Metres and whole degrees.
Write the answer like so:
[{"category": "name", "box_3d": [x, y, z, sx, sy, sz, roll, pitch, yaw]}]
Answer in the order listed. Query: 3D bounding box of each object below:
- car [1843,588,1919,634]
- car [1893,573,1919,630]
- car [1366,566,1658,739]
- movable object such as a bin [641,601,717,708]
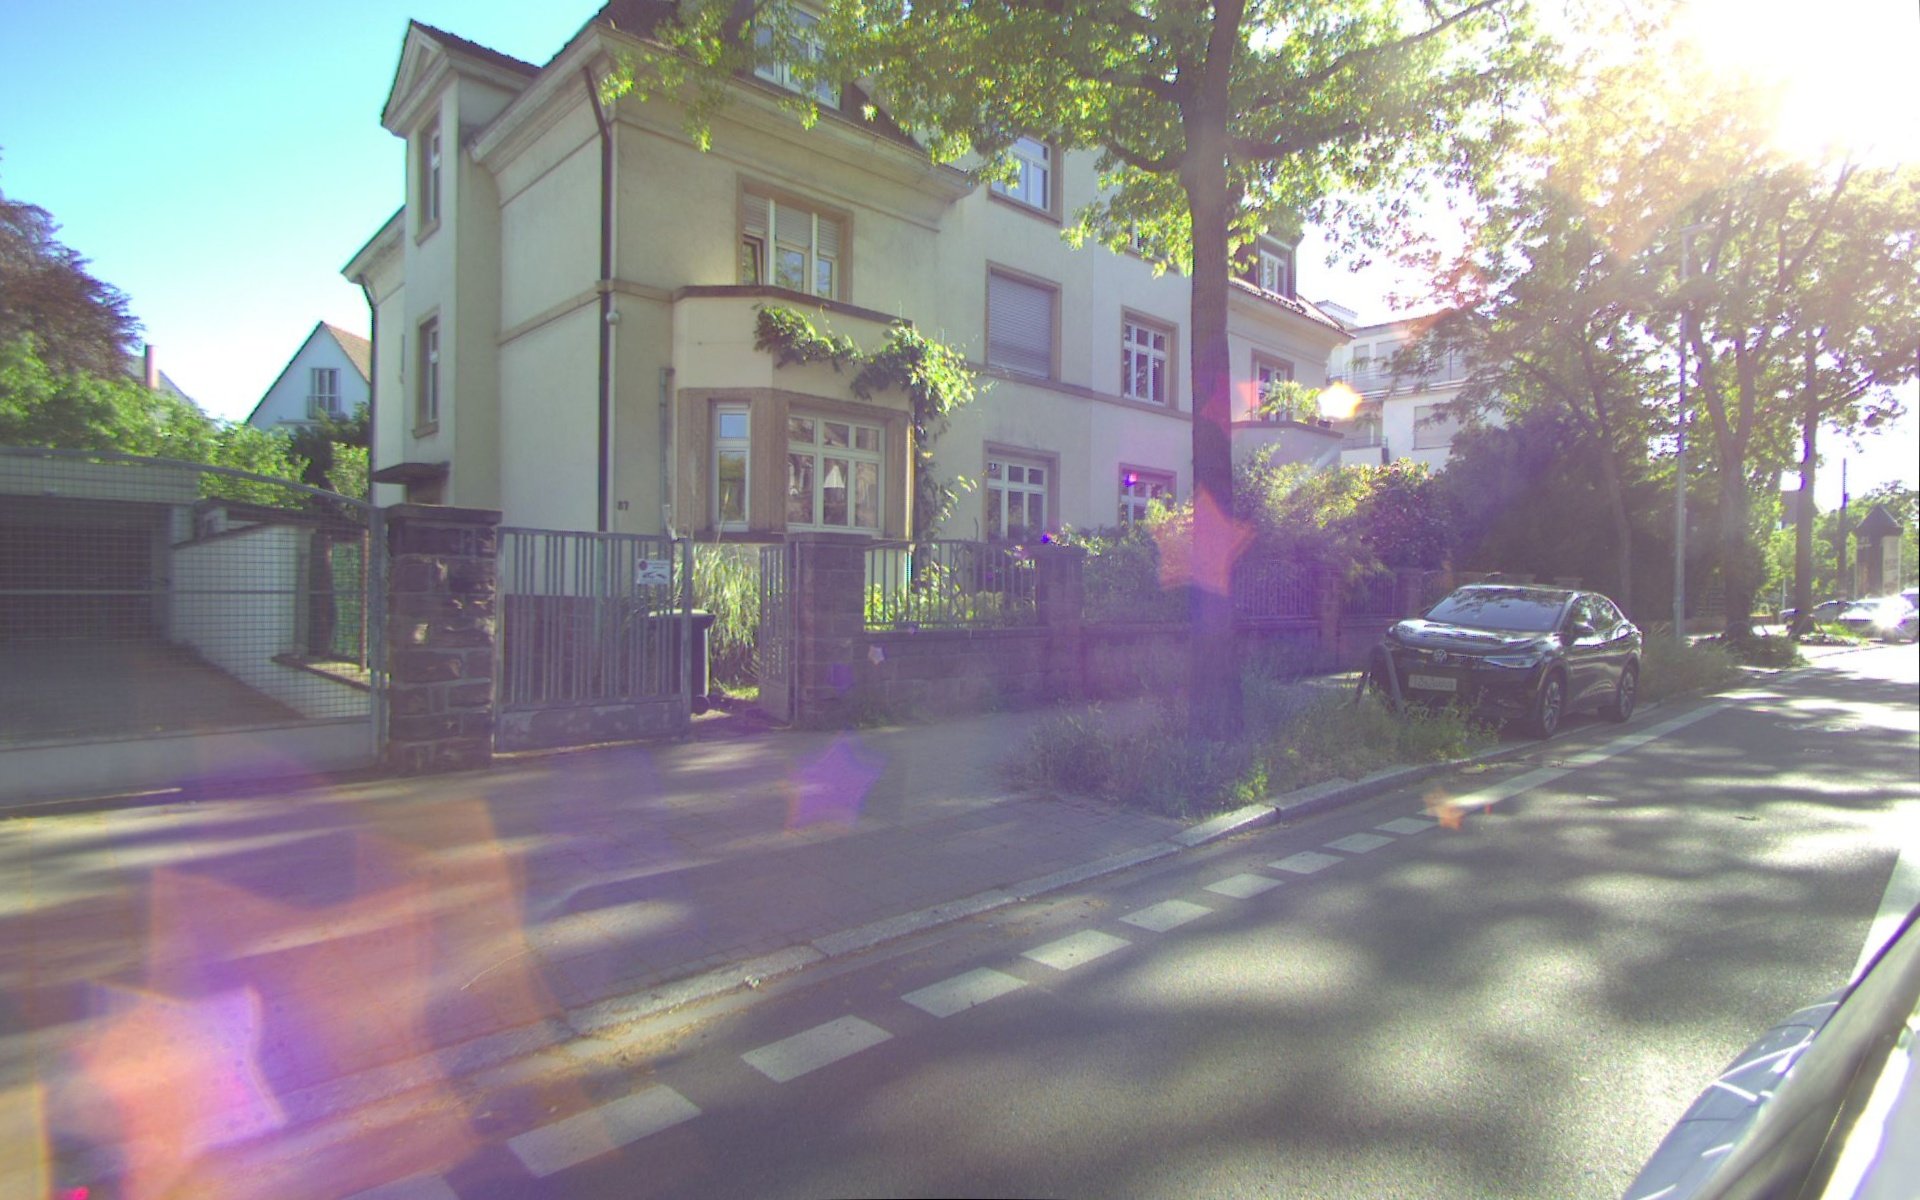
[{"category": "car", "box_3d": [31.548, 0.341, 34.408, 3.930, 1.469, 1.785, 0, 1, -41]}, {"category": "car", "box_3d": [36.783, 0.054, 38.069, 4.503, 2.039, 1.997, 0, 1, -41]}, {"category": "car", "box_3d": [6.679, 0.495, 12.062, 4.021, 1.626, 1.743, 0, 4, -42]}, {"category": "movable object such as a bin", "box_3d": [-3.036, 0.555, 10.871, 0.697, 1.070, 1.093, 0, 0, -20]}]
